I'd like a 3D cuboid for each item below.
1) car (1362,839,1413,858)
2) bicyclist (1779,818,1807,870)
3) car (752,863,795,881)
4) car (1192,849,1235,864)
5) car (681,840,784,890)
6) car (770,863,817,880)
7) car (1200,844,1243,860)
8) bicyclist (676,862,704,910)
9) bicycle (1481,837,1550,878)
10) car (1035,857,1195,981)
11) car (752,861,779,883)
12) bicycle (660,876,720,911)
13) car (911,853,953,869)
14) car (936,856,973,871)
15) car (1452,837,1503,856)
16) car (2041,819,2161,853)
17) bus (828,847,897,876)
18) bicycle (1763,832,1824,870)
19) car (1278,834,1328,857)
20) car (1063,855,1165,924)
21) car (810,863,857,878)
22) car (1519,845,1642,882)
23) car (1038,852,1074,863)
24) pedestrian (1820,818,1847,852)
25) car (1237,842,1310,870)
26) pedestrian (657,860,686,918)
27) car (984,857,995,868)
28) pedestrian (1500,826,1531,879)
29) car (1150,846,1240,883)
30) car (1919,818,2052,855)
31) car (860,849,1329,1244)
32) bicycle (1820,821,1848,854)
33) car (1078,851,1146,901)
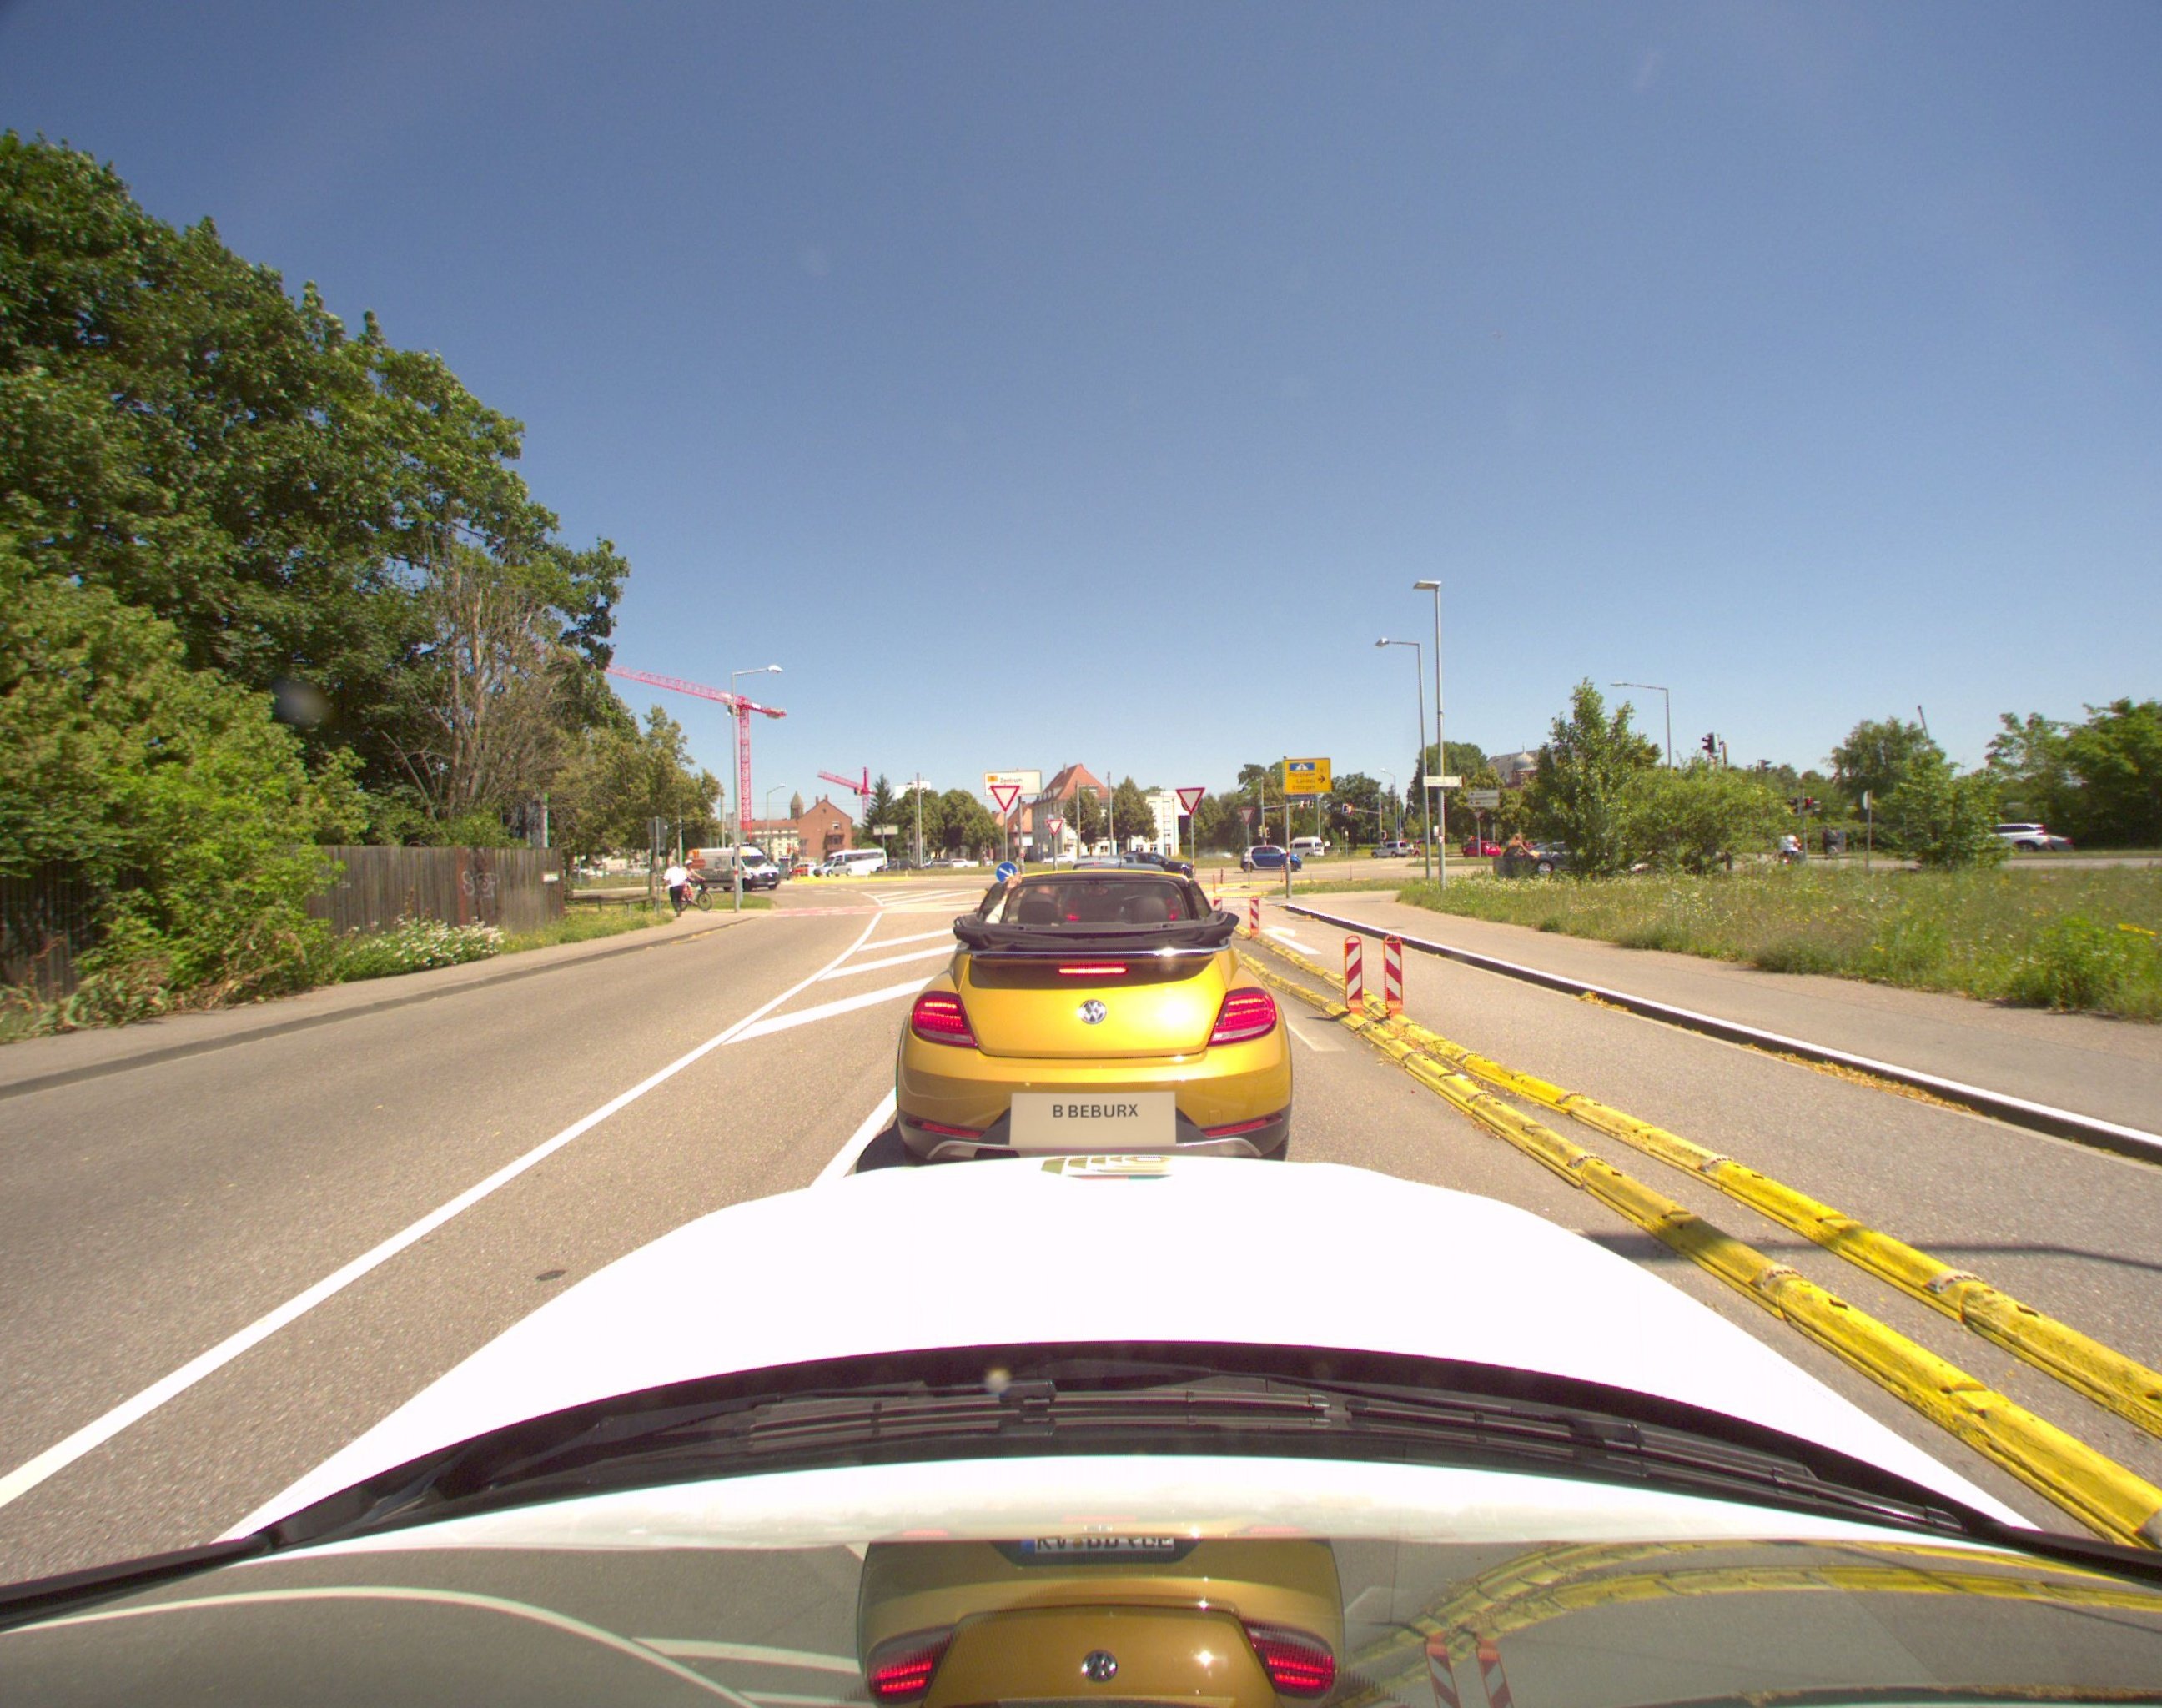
[{"bbox_3d":[34.528,-0.625,91.918,2.002,2.070,5.272,0,-1,-34],"label":"car"},{"bbox_3d":[25.766,-0.364,29.473,0.573,1.841,0.603,0,-1,-29],"label":"bicyclist"},{"bbox_3d":[-25.094,1.469,66.624,1.740,1.371,4.332,0,0,1],"label":"car"},{"bbox_3d":[17.434,0.300,107.127,5.267,1.962,2.004,-1,-1,19],"label":"car"},{"bbox_3d":[-20.914,0.653,48.779,6.796,2.828,2.012,-1,-1,30],"label":"car"},{"bbox_3d":[-30.246,1.841,85.687,4.456,1.736,1.831,0,-1,-29],"label":"car"},{"bbox_3d":[18.422,-0.278,106.745,5.266,1.962,2.004,-1,-1,20],"label":"car"},{"bbox_3d":[-14.430,1.169,30.068,0.664,1.753,0.595,-3,-1,20],"label":"bicyclist"},{"bbox_3d":[14.032,0.108,26.348,1.830,1.231,0.615,-3,-1,12],"label":"bicycle"},{"bbox_3d":[0.473,0.776,11.748,1.844,1.366,4.260,-2,0,2],"label":"car"},{"bbox_3d":[-23.545,1.350,60.680,1.783,1.527,3.843,-2,0,-23],"label":"car"},{"bbox_3d":[-14.432,1.453,30.050,2.075,1.221,0.637,-2,0,18],"label":"bicycle"},{"bbox_3d":[-17.207,0.819,94.157,4.468,1.736,1.826,0,-1,-42],"label":"car"},{"bbox_3d":[-15.379,1.186,99.160,4.016,1.772,1.767,0,-1,-35],"label":"car"},{"bbox_3d":[36.096,-0.695,74.243,1.896,1.654,4.328,0,-1,-12],"label":"car"},{"bbox_3d":[51.434,-0.867,40.595,4.389,1.592,1.860,-1,-1,43],"label":"car"},{"bbox_3d":[-24.819,0.838,92.639,7.310,3.172,2.236,0,-1,-37],"label":"bus"},{"bbox_3d":[25.810,-0.113,29.493,2.902,1.353,0.635,0,-1,-27],"label":"bicycle"},{"bbox_3d":[24.750,-0.891,90.985,2.003,2.397,5.269,0,-1,-36],"label":"car"},{"bbox_3d":[0.746,0.745,18.697,2.057,1.382,4.259,0,0,2],"label":"car"},{"bbox_3d":[-23.712,1.552,78.102,1.711,1.402,4.297,-1,-1,28],"label":"car"},{"bbox_3d":[21.942,0.432,35.946,4.302,1.552,1.733,-1,-1,10],"label":"car"},{"bbox_3d":[-3.161,0.474,101.287,4.317,1.371,1.746,0,-1,-10],"label":"car"},{"bbox_3d":[37.911,-0.950,41.008,0.959,1.660,0.892,-1,-1,44],"label":"pedestrian"},{"bbox_3d":[11.003,0.142,46.710,3.964,1.552,1.732,0,-1,8],"label":"car"},{"bbox_3d":[-12.844,1.084,25.551,0.641,1.786,0.958,0,-1,-39],"label":"pedestrian"},{"bbox_3d":[-15.476,1.389,137.798,1.751,1.794,3.993,0,-1,-4],"label":"car"},{"bbox_3d":[14.047,-0.049,26.343,0.728,1.691,0.577,-1,-1,11],"label":"pedestrian"},{"bbox_3d":[5.406,0.472,38.530,3.956,1.551,1.736,-2,2,17],"label":"car"},{"bbox_3d":[45.909,-0.834,41.498,4.389,1.736,1.860,-1,-1,43],"label":"car"},{"bbox_3d":[0.115,0.745,5.203,1.758,1.481,4.259,0,-1,2],"label":"car"},{"bbox_3d":[38.010,-0.822,41.118,0.972,1.597,2.900,-1,-1,43],"label":"bicycle"},{"bbox_3d":[1.045,0.673,27.749,2.057,1.481,4.545,-2,0,2],"label":"car"}]
